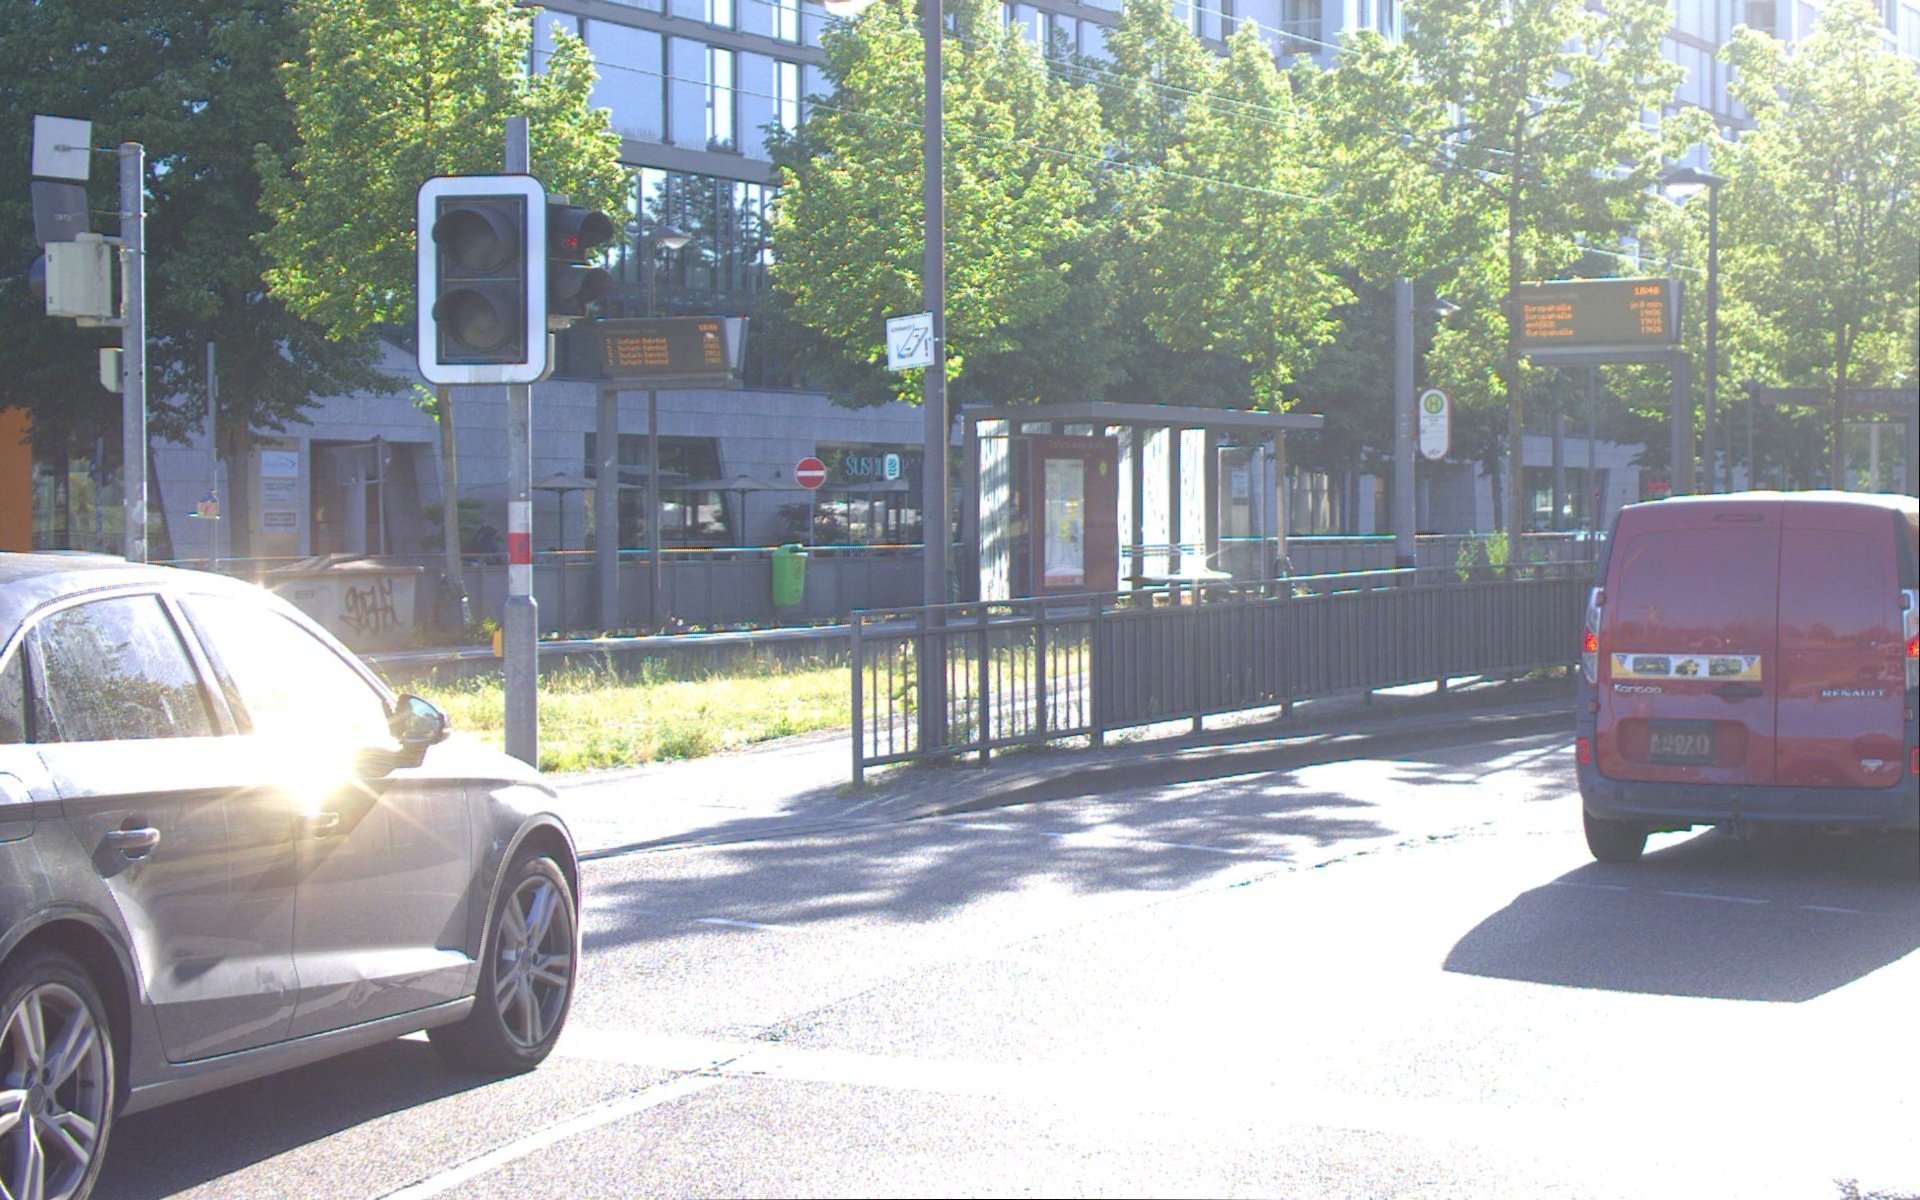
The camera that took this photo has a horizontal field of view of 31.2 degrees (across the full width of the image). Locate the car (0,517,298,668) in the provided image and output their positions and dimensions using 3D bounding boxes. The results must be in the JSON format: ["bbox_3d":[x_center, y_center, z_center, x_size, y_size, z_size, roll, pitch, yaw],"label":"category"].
[{"bbox_3d":[-9.399,-0.117,37.890,1.937,1.569,3.969,1,1,32],"label":"car"}]

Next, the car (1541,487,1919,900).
[{"bbox_3d":[4.326,0.370,17.137,1.805,1.807,3.804,1,1,26],"label":"car"}]

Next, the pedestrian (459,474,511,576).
[{"bbox_3d":[-9.491,-1.501,68.749,0.639,2.007,0.832,1,2,31],"label":"pedestrian"}]

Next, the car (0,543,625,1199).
[{"bbox_3d":[-2.390,0.574,8.178,1.761,1.375,4.355,1,0,14],"label":"car"}]
